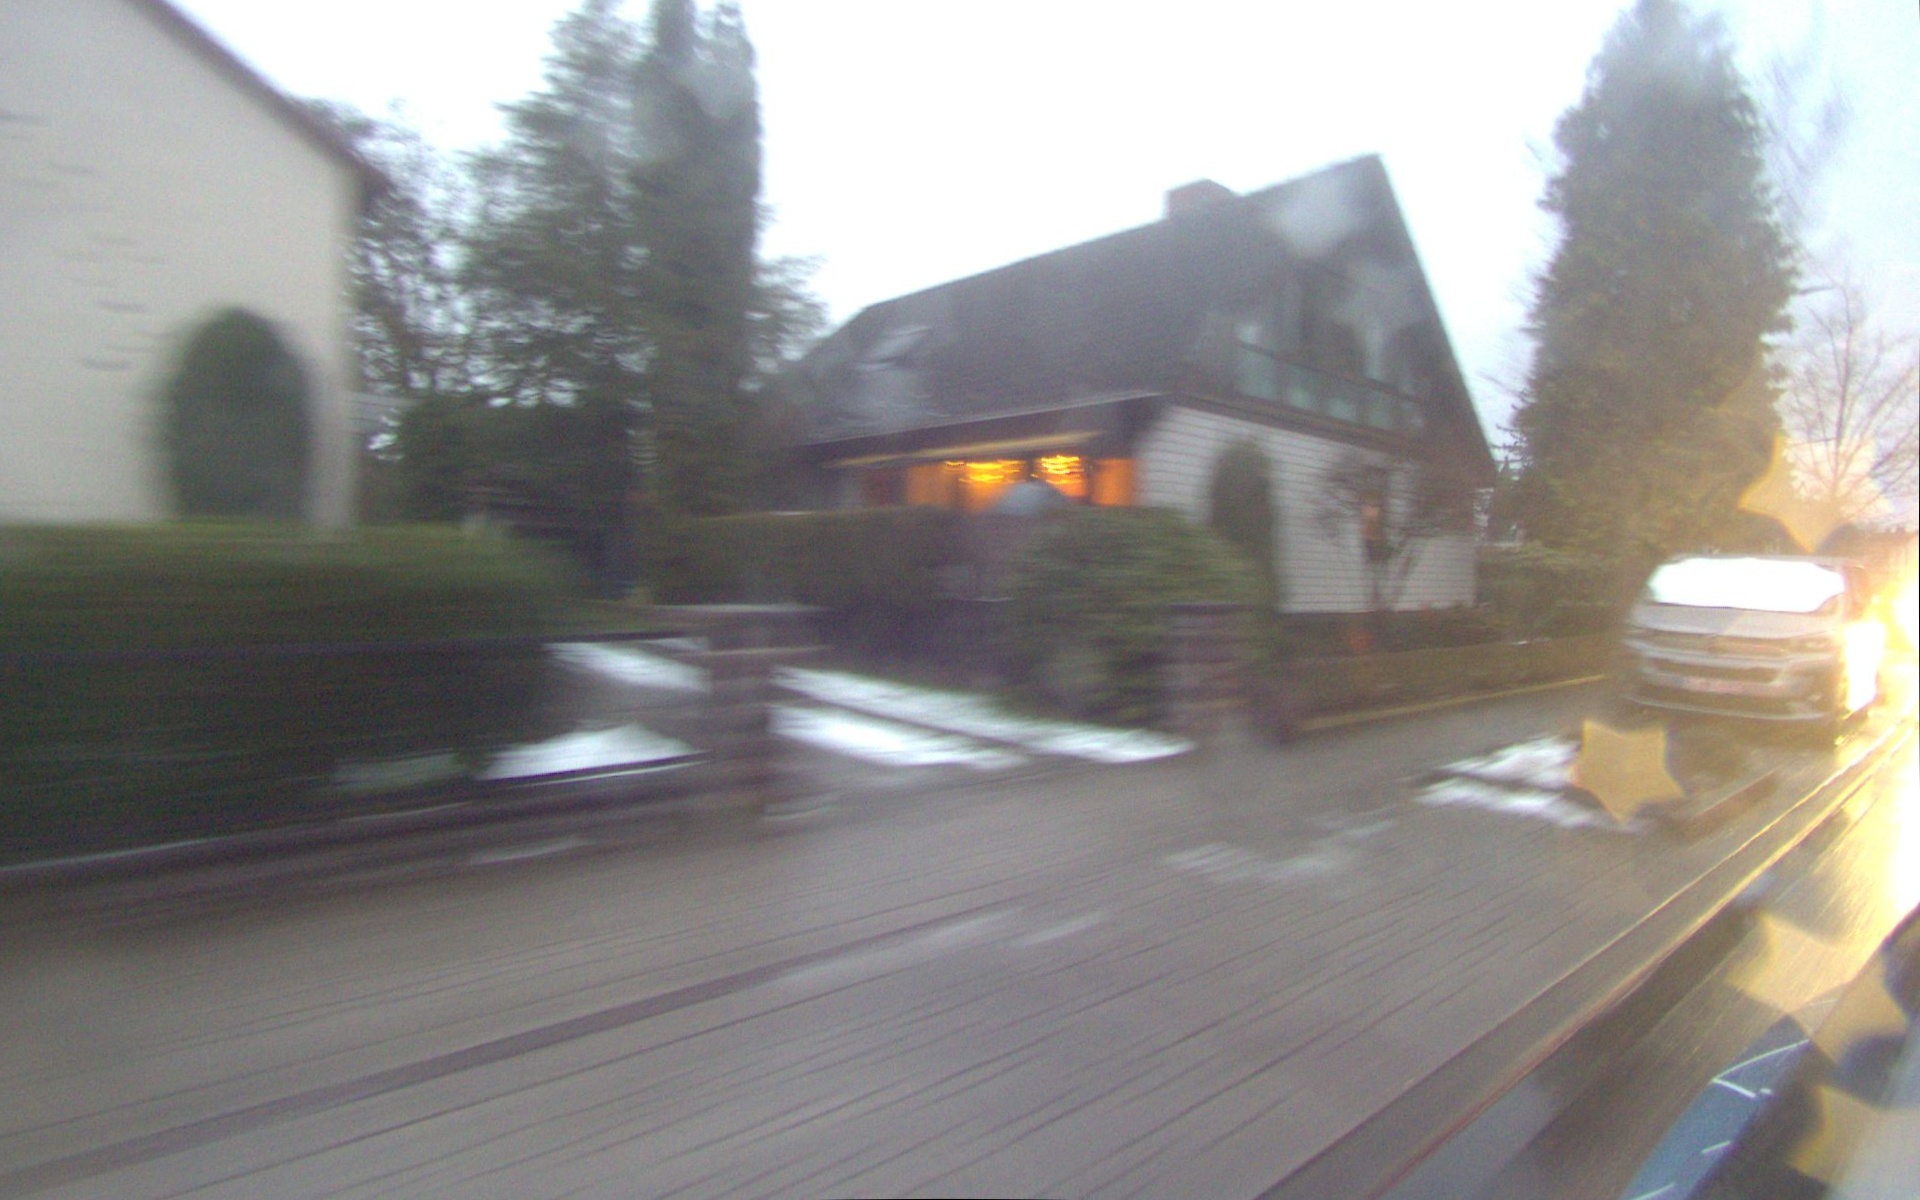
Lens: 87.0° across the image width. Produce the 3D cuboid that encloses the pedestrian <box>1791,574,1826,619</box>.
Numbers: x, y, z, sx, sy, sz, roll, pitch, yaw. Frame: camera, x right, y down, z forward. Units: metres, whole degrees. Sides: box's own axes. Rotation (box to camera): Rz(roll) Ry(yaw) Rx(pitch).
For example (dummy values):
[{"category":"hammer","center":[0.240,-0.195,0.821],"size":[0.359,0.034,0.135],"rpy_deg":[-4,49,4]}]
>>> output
[{"category":"pedestrian","center":[34.960,-0.159,41.704],"size":[0.987,1.763,1.040],"rpy_deg":[4,3,40]}]

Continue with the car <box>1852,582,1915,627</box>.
[{"category":"car","center":[35.974,0.155,39.463],"size":[1.650,1.558,3.338],"rpy_deg":[7,5,42]}]

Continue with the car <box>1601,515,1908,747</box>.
[{"category":"car","center":[9.319,0.204,11.634],"size":[5.651,2.038,1.980],"rpy_deg":[0,4,-44]}]
